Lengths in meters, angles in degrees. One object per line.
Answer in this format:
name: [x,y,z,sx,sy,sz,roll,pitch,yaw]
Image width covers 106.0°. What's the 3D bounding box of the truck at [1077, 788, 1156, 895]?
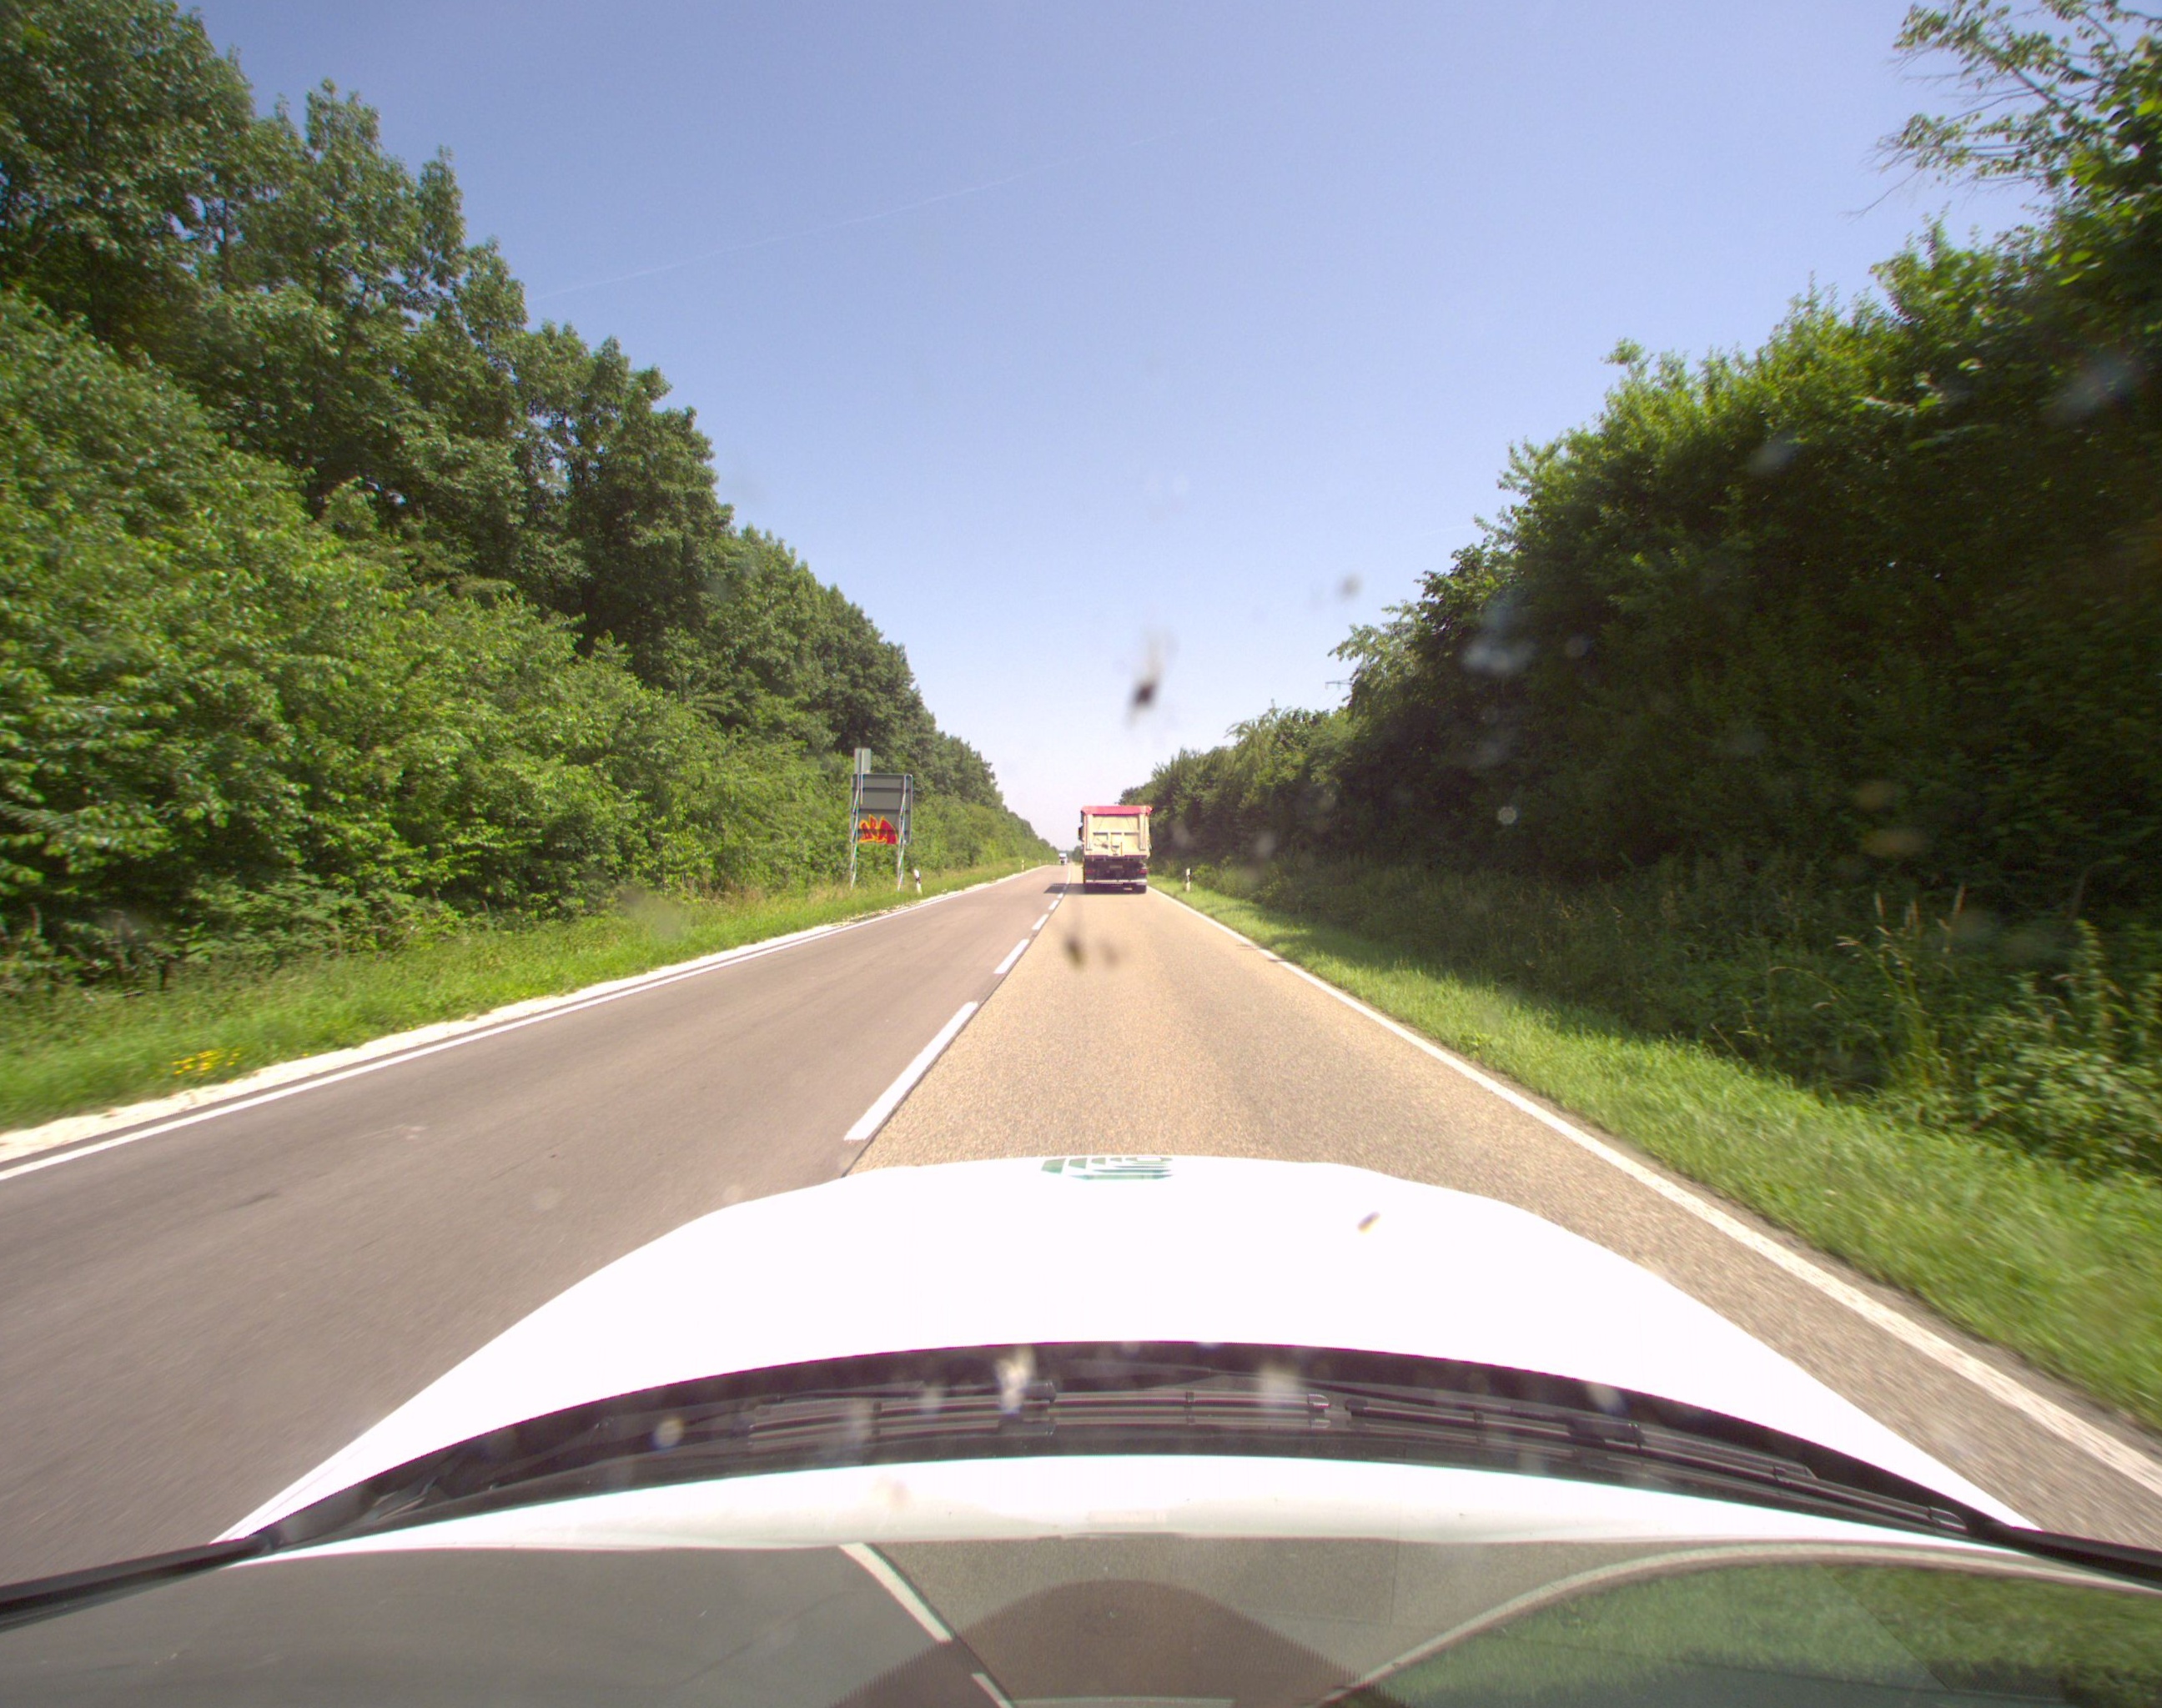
truck: [1.309,-0.479,36.364,2.884,3.962,11.929,-1,0,0]
